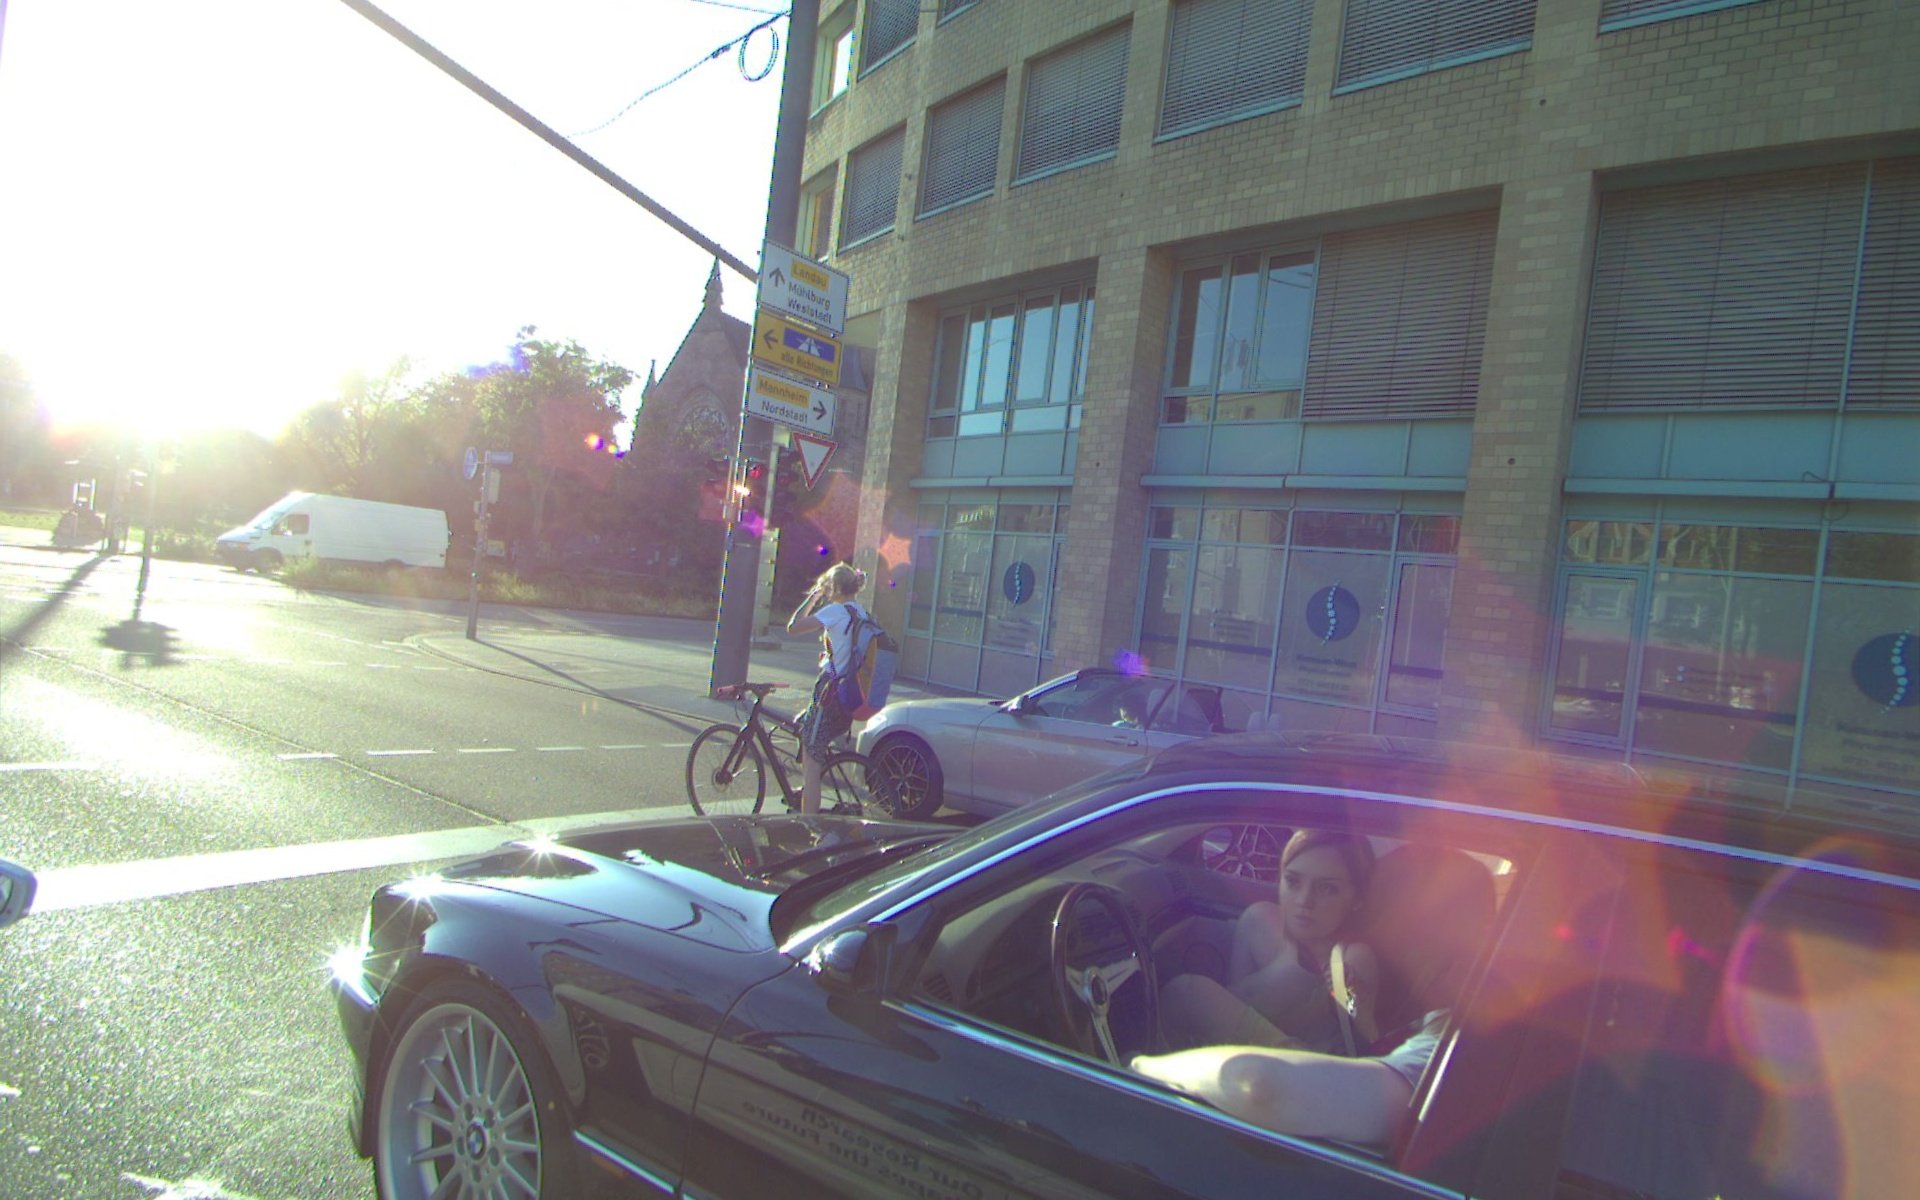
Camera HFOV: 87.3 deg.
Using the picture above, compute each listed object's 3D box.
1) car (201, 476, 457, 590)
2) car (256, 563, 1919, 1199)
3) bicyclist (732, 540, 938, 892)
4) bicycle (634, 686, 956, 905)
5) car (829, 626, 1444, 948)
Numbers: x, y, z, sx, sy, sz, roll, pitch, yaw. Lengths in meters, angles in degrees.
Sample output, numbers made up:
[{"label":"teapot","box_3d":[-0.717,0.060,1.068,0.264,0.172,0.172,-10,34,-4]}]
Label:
[{"label":"car","box_3d":[-21.303,-2.171,34.440,2.059,2.862,7.017,7,0,33]},{"label":"car","box_3d":[0.890,0.934,2.006,4.661,1.402,1.997,7,-1,32]},{"label":"bicyclist","box_3d":[-0.719,0.635,5.854,0.764,1.843,0.634,7,1,30]},{"label":"bicycle","box_3d":[-1.015,1.088,6.006,1.838,0.884,0.634,7,0,30]},{"label":"car","box_3d":[1.246,1.197,7.682,4.157,1.401,1.747,7,-1,31]}]
